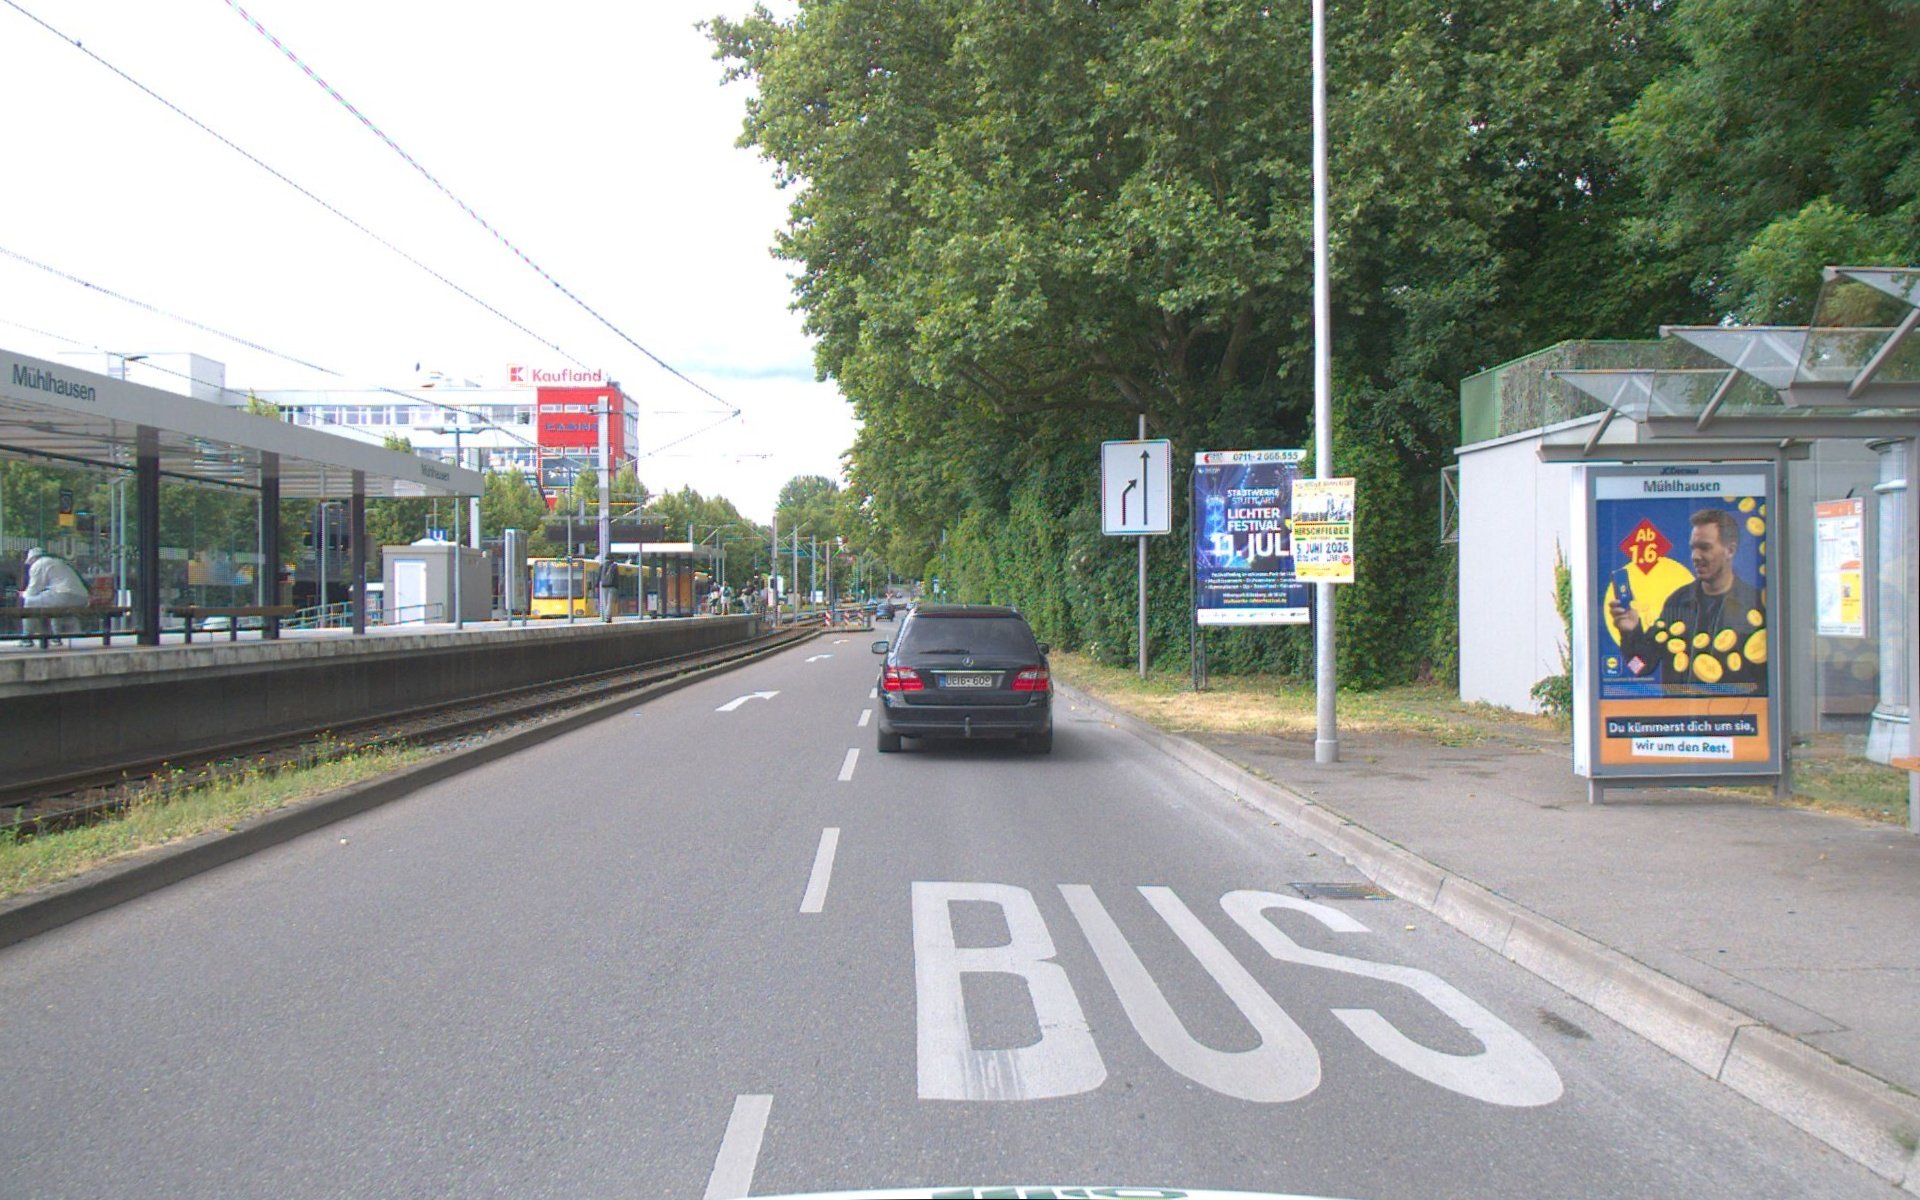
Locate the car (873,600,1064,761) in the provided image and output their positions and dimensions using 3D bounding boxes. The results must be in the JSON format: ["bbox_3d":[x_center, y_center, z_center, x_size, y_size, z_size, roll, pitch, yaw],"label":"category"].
[{"bbox_3d":[-0.005,0.758,17.745,1.796,1.504,4.413,0,0,-2],"label":"car"}]

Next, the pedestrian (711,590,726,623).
[{"bbox_3d":[-11.267,0.290,77.060,0.471,1.509,0.536,-1,-1,-34],"label":"pedestrian"}]

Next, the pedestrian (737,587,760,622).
[{"bbox_3d":[-10.565,0.227,82.620,0.732,1.707,0.871,-2,-1,41],"label":"pedestrian"}]

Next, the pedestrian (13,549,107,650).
[{"bbox_3d":[-11.090,-0.002,20.397,0.753,1.210,0.728,-1,-1,2],"label":"pedestrian"}]

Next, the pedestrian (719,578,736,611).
[{"bbox_3d":[-10.701,-0.240,76.158,0.510,1.508,0.579,-2,-1,36],"label":"pedestrian"}]

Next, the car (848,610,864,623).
[{"bbox_3d":[-13.115,2.083,209.404,1.788,1.557,3.927,1,0,0],"label":"car"}]

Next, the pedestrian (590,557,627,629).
[{"bbox_3d":[-8.886,-0.170,41.839,0.733,1.775,0.936,-2,-1,-2],"label":"pedestrian"}]

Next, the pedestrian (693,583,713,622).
[{"bbox_3d":[-11.657,0.116,74.909,0.755,1.707,0.790,-2,-1,-2],"label":"pedestrian"}]

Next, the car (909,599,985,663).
[{"bbox_3d":[-0.394,0.762,42.705,1.789,1.557,4.413,1,0,-3],"label":"car"}]

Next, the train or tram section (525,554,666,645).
[{"bbox_3d":[-17.629,0.009,81.818,2.700,3.951,18.630,-1,0,0],"label":"train or tram section"}]

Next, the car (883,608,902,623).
[{"bbox_3d":[-7.097,1.606,173.549,1.788,1.557,3.927,1,0,0],"label":"car"}]

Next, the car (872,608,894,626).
[{"bbox_3d":[-6.983,1.514,149.728,1.788,1.557,4.415,-1,0,0],"label":"car"}]
